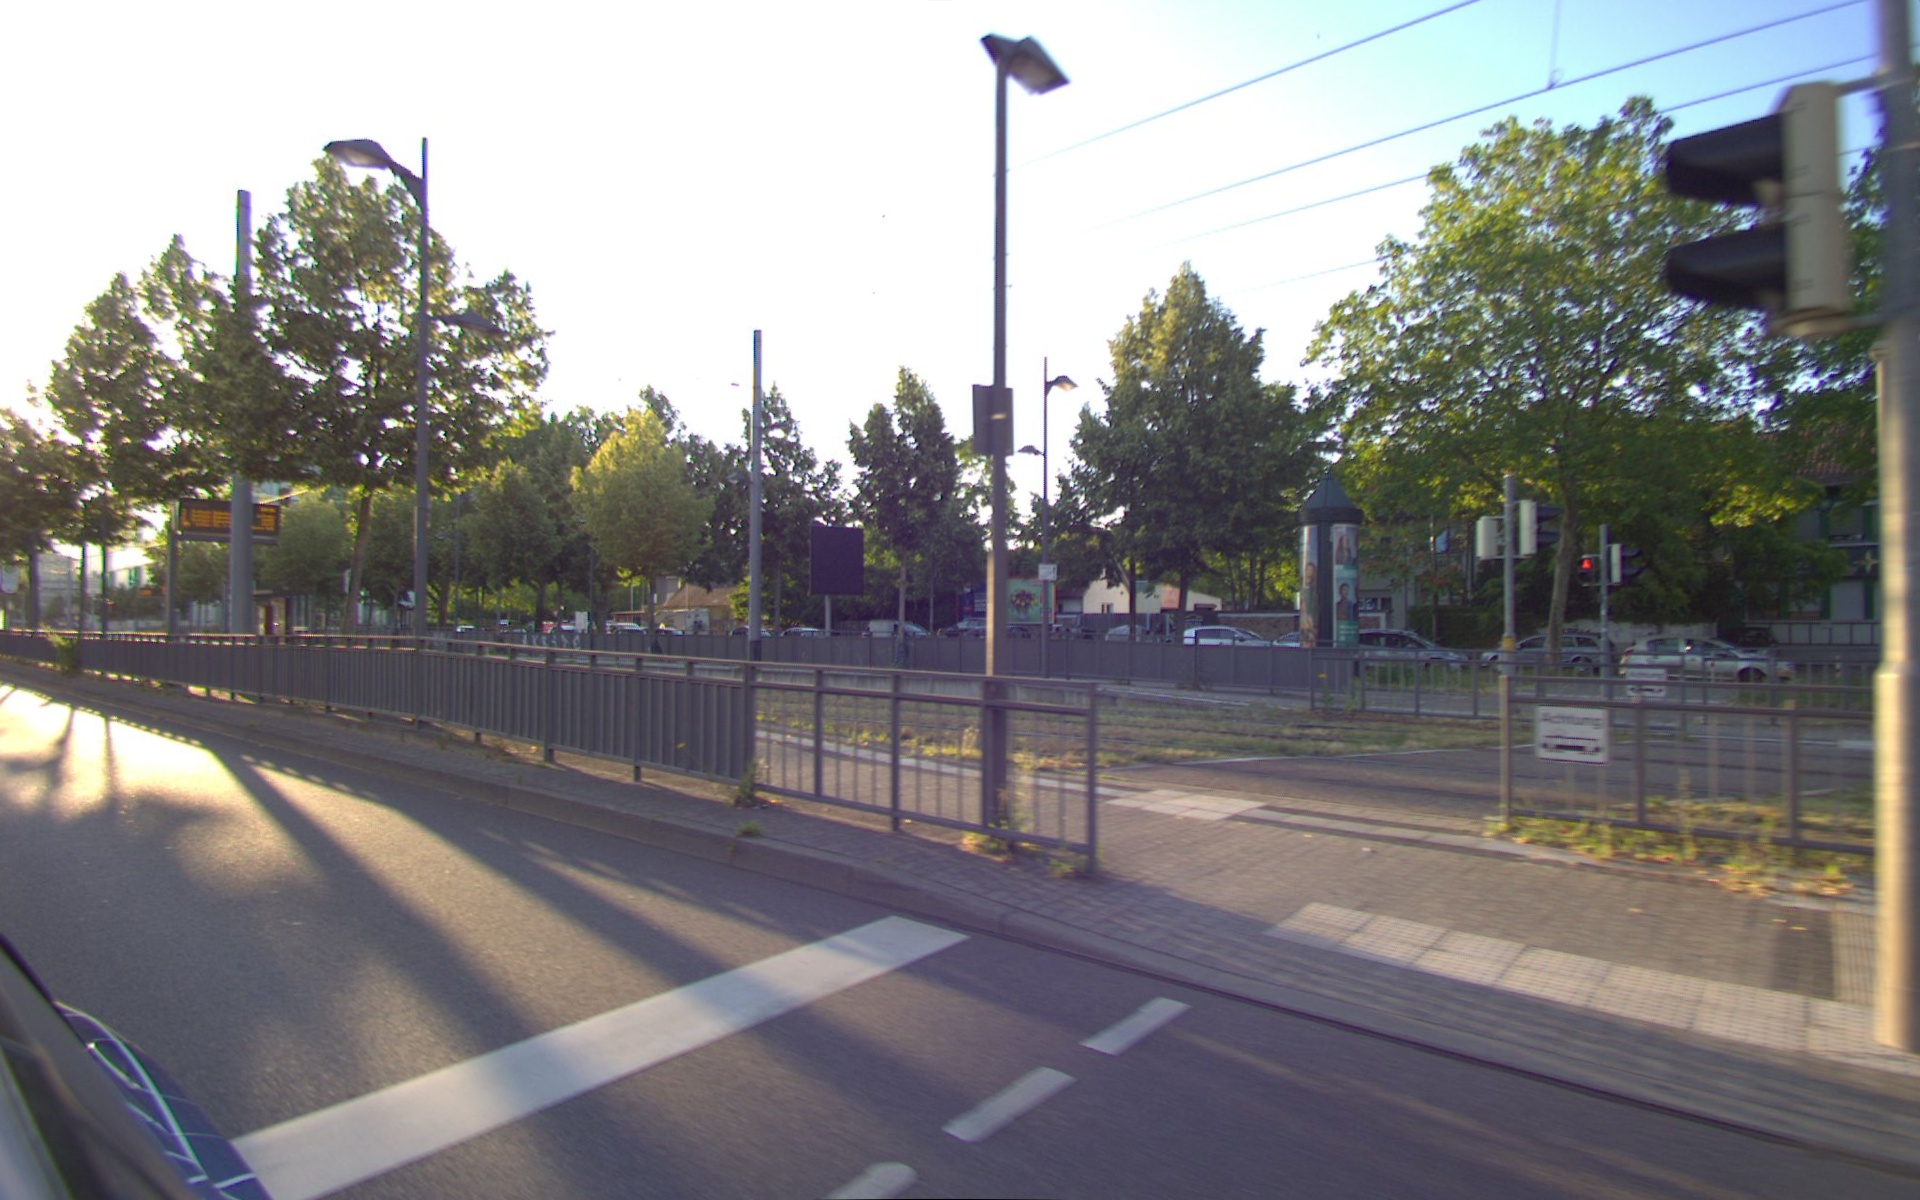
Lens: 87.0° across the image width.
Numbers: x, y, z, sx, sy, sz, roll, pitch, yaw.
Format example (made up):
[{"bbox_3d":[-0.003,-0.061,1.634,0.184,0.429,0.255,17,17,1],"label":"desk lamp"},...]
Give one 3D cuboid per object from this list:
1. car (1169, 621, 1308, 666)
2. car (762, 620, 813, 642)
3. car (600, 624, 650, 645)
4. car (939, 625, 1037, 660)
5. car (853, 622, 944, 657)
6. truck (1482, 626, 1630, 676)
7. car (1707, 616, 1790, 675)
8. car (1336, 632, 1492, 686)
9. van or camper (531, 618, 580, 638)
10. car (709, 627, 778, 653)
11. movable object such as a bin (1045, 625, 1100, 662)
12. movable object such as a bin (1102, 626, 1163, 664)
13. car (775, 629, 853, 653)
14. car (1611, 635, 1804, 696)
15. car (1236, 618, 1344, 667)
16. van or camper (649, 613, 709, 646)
[{"bbox_3d":[9.805,1.502,35.801,4.298,1.512,1.972,-2,-2,43],"label":"car"},{"bbox_3d":[-12.146,2.154,71.068,1.802,1.512,3.647,1,-2,-44],"label":"car"},{"bbox_3d":[-24.556,2.509,74.180,1.970,1.542,4.003,1,-2,-44],"label":"car"},{"bbox_3d":[1.194,1.830,44.433,4.000,1.459,1.972,-2,-2,43],"label":"car"},{"bbox_3d":[-3.004,1.880,48.846,4.296,1.598,1.972,-2,-2,43],"label":"car"},{"bbox_3d":[21.626,1.800,36.829,4.295,1.703,1.971,-2,-2,44],"label":"truck"},{"bbox_3d":[28.736,1.618,36.839,2.000,2.029,3.943,-2,-2,43],"label":"car"},{"bbox_3d":[14.029,1.788,31.404,4.053,1.543,1.790,-2,-2,43],"label":"car"},{"bbox_3d":[-46.453,3.207,116.248,4.811,2.029,2.004,-1,0,-39],"label":"van or camper"},{"bbox_3d":[-12.540,2.291,58.477,4.000,1.418,1.971,-2,-2,44],"label":"car"},{"bbox_3d":[4.483,1.709,40.436,1.701,1.422,1.393,-2,-2,42],"label":"movable object such as a bin"},{"bbox_3d":[6.533,1.701,38.338,1.724,1.383,1.536,-2,-2,42],"label":"movable object such as a bin"},{"bbox_3d":[-7.775,2.134,53.680,4.089,1.210,1.972,-2,-2,43],"label":"car"},{"bbox_3d":[20.506,1.735,27.851,4.098,1.512,1.972,-1,-2,43],"label":"car"},{"bbox_3d":[14.342,1.835,44.075,1.971,2.029,4.002,1,-2,-45],"label":"car"},{"bbox_3d":[-22.713,2.340,81.623,2.363,2.583,5.638,1,-2,-43],"label":"van or camper"}]
